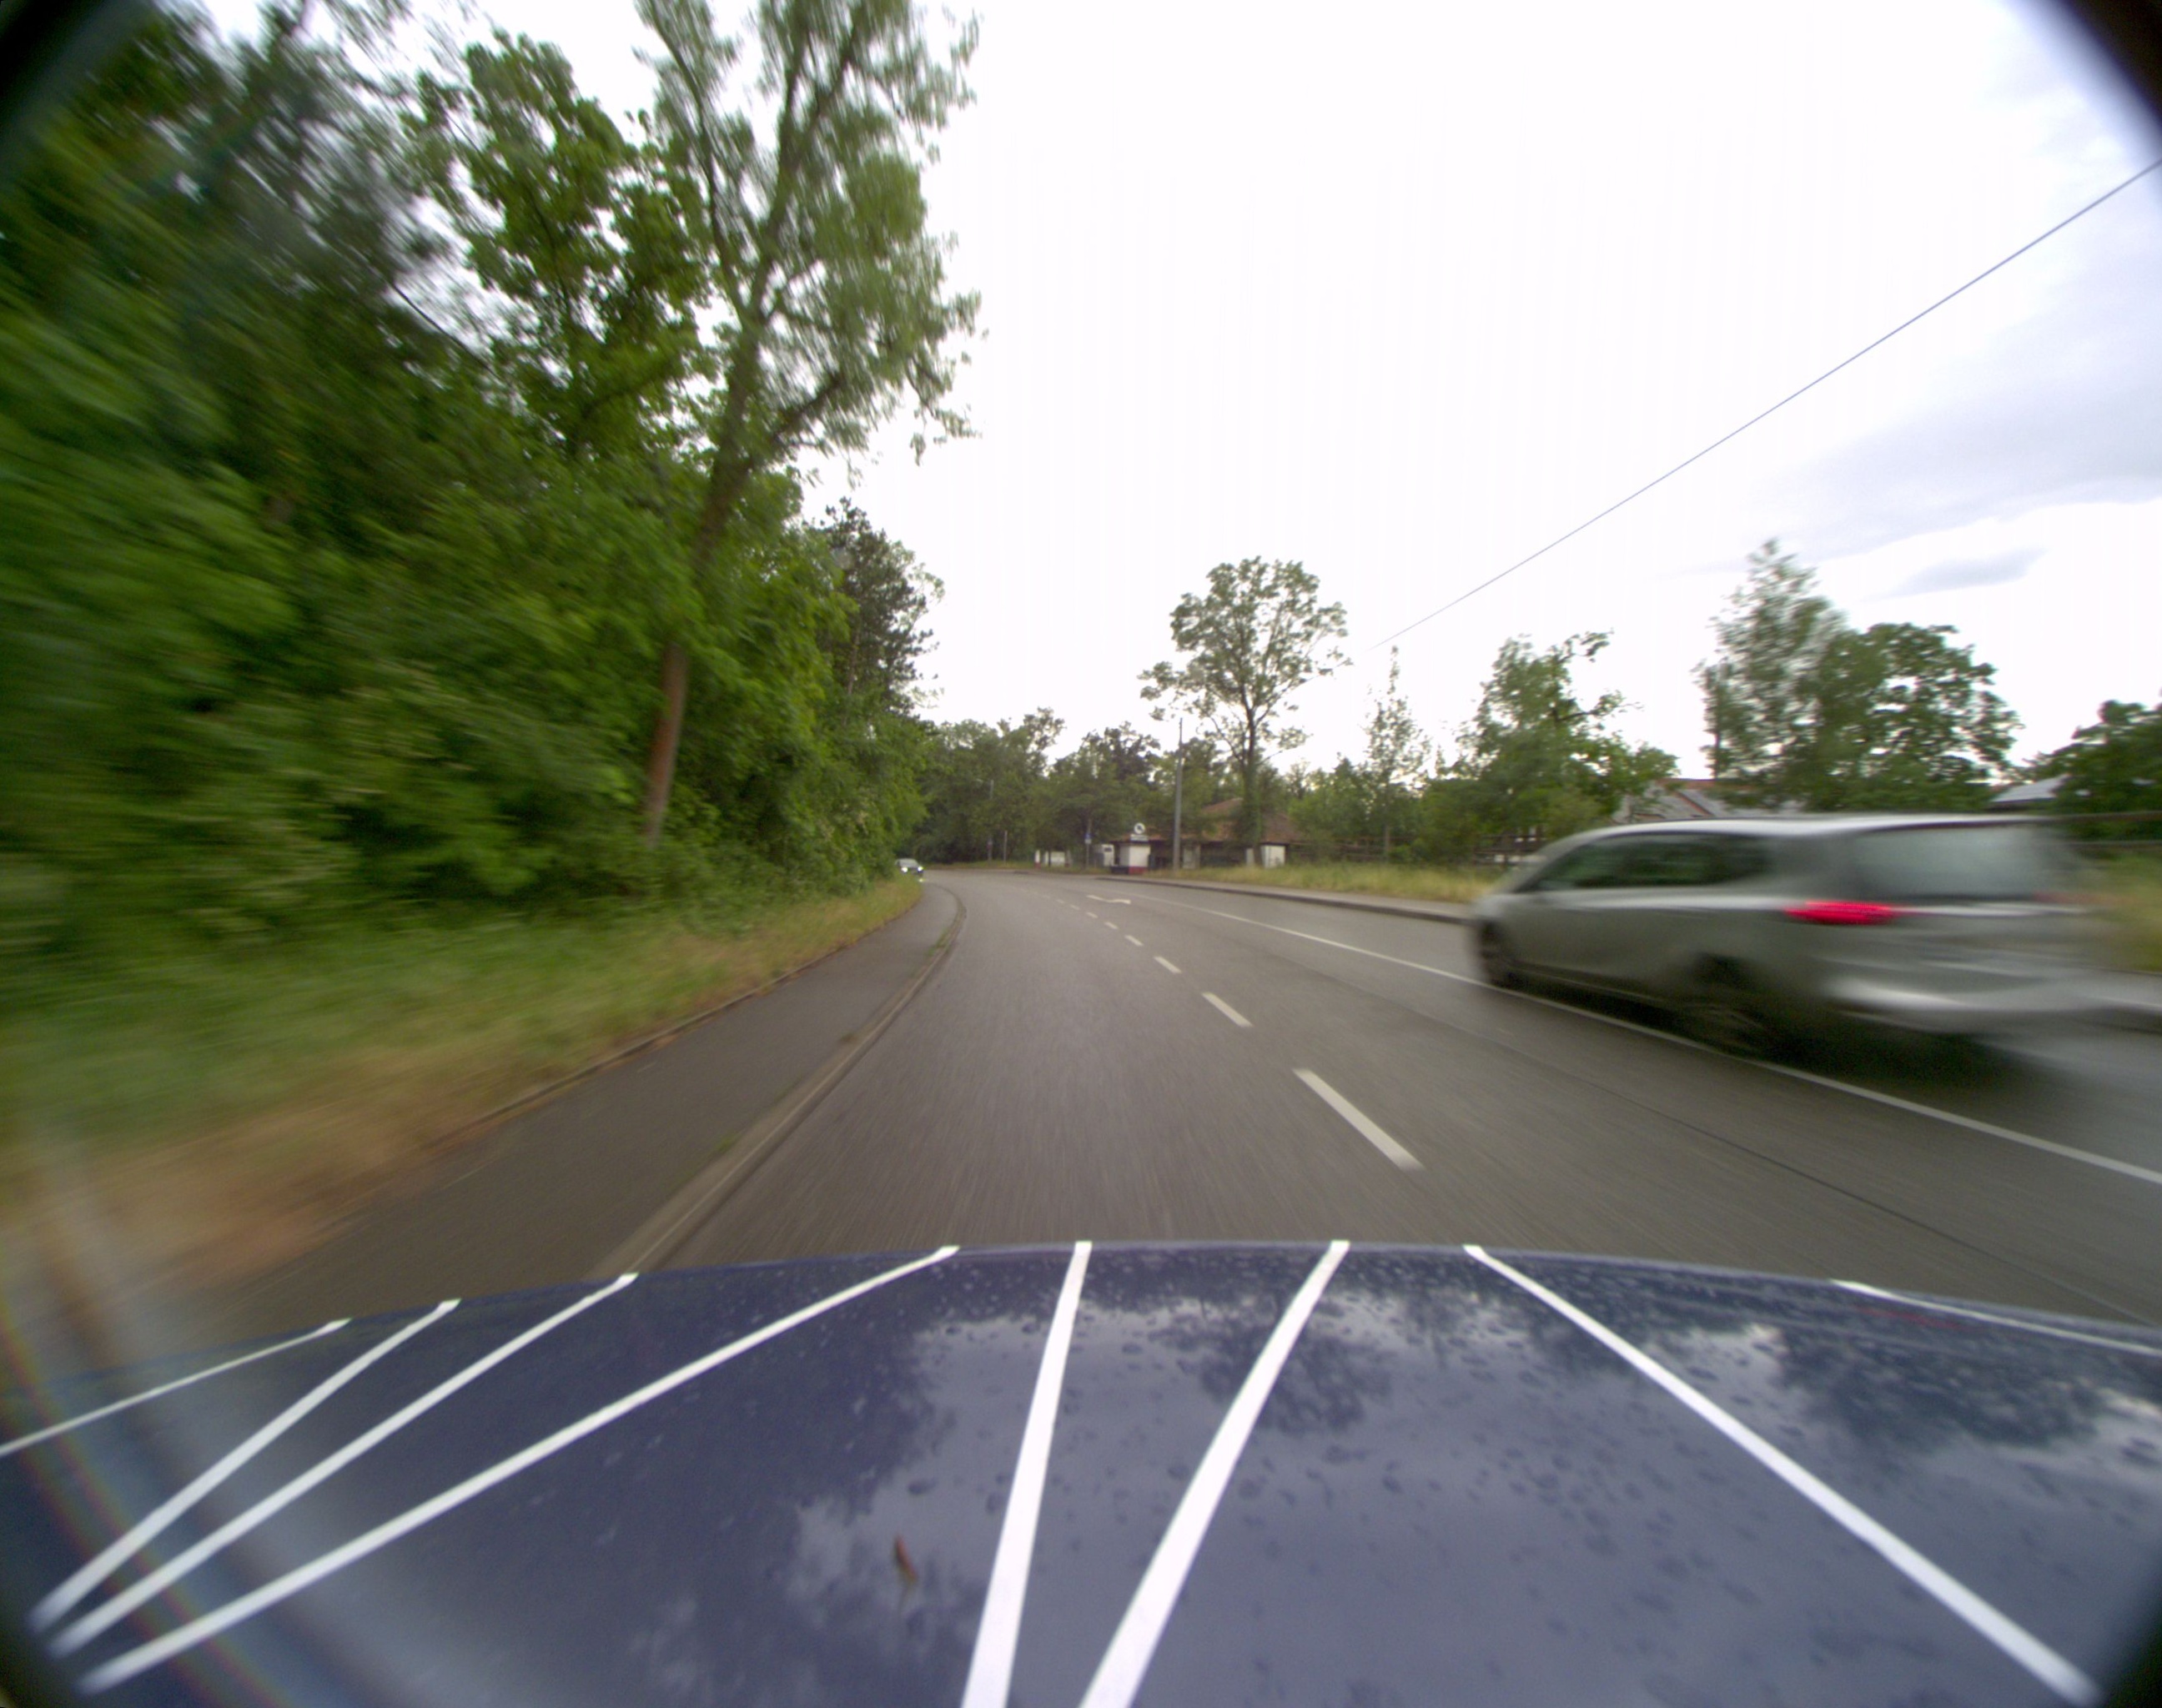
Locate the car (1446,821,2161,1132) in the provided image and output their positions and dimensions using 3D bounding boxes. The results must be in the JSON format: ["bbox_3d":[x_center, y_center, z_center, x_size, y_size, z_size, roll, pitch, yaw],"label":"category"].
[{"bbox_3d":[5.056,0.644,6.293,1.764,1.605,4.417,-2,0,-2],"label":"car"}]
